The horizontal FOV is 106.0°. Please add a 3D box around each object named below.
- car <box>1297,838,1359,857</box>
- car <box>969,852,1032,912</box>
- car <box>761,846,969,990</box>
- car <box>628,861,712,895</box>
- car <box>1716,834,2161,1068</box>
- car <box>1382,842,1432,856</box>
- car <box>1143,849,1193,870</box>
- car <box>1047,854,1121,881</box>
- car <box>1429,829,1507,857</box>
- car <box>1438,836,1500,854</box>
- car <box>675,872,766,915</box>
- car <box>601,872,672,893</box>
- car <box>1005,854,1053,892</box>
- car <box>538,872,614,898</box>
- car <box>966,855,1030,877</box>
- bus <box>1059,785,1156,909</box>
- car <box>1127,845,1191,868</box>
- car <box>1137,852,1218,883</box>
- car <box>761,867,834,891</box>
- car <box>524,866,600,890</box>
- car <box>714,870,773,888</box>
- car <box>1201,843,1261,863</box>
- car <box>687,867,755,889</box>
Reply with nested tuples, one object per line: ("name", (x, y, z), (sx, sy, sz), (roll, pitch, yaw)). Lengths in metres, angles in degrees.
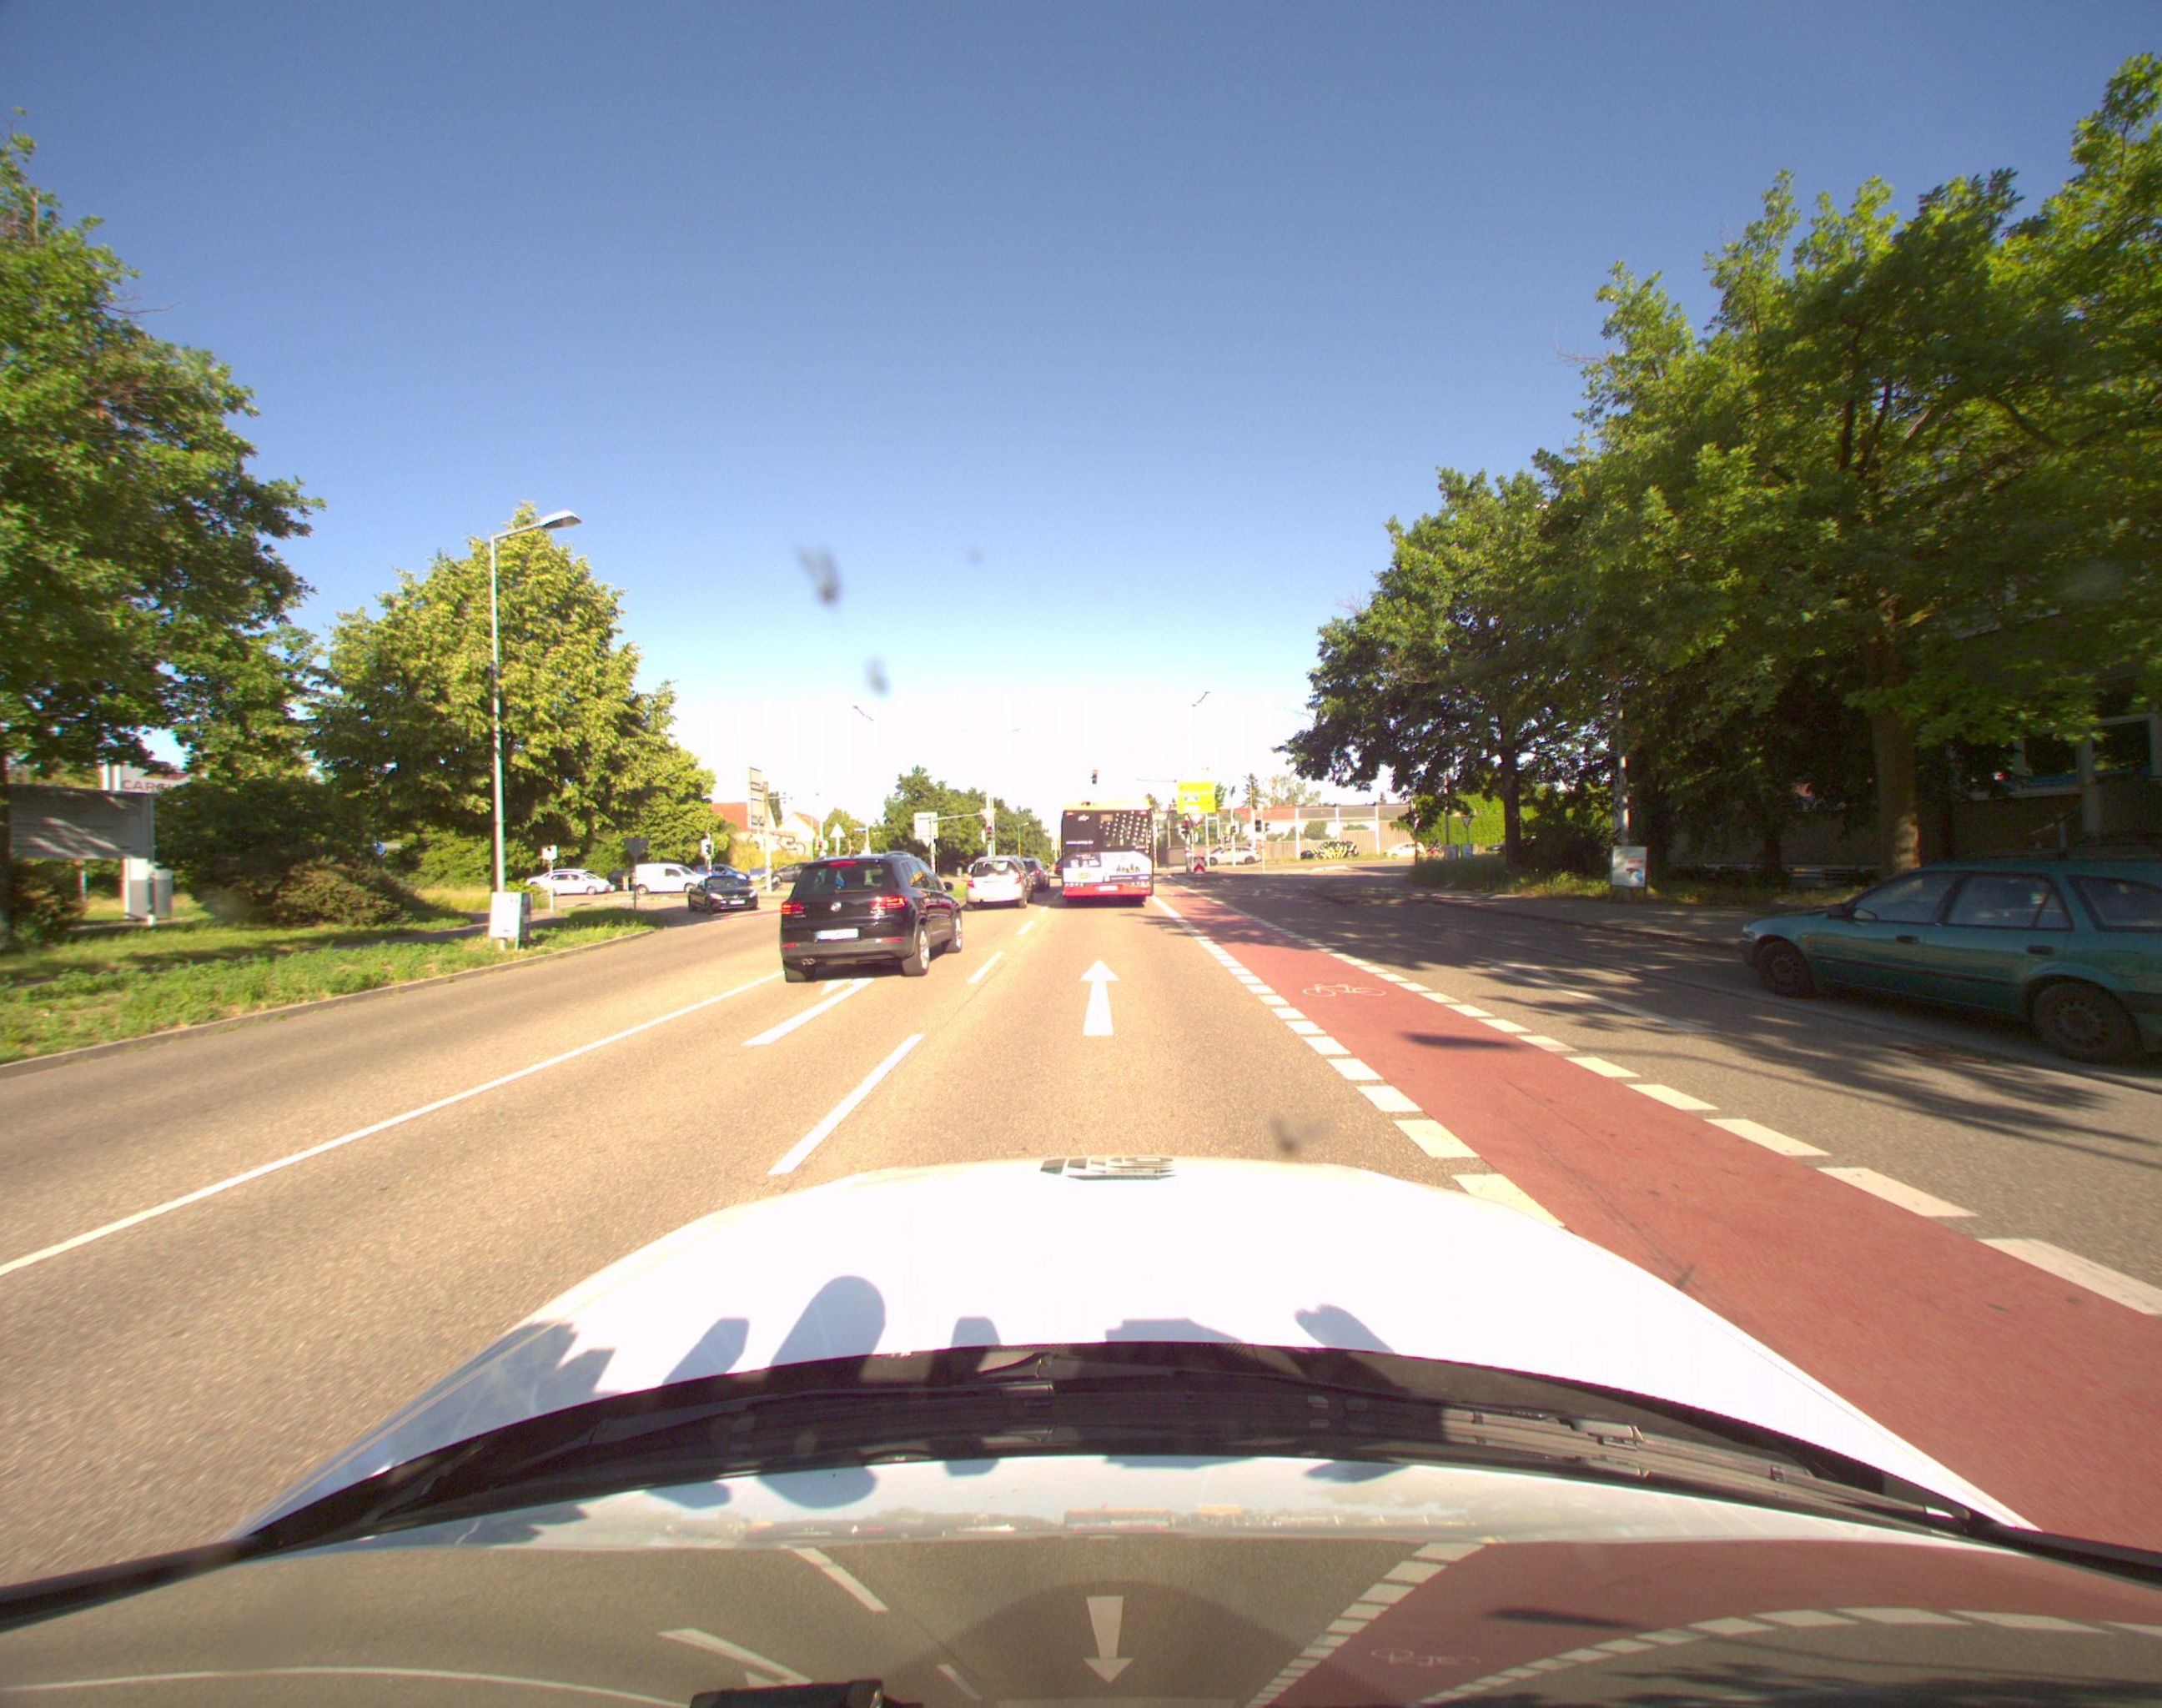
("car", (18.361, -0.474, 60.694), (4.148, 1.302, 1.574), (-1, -1, -2))
("car", (-2.446, 0.795, 25.456), (1.750, 1.620, 4.028), (-2, 1, -4))
("car", (-2.943, 0.822, 12.029), (1.814, 1.673, 4.004), (-3, -1, 1))
("car", (-24.174, 1.417, 47.965), (4.104, 1.801, 1.455), (-2, -1, -5))
("car", (7.683, 0.609, 6.779), (1.586, 1.428, 4.206), (-3, -1, 3))
("car", (28.733, -0.445, 71.766), (3.746, 1.136, 1.574), (-2, 0, -2))
("car", (7.422, 0.491, 69.804), (3.979, 1.612, 1.693), (-2, 0, -4))
("car", (0.150, 0.799, 50.165), (4.452, 1.441, 1.681), (-2, 0, -4))
("car", (18.333, -0.510, 38.608), (3.412, 1.296, 1.449), (0, -1, -24))
("car", (31.543, -0.721, 66.266), (4.277, 1.302, 1.574), (-2, 0, -2))
("car", (-14.114, 1.546, 31.751), (2.011, 1.403, 4.533), (-5, 0, -40))
("car", (-29.431, 1.860, 54.031), (3.842, 1.313, 1.504), (-1, -1, -7))
("car", (-2.144, 0.778, 34.220), (1.582, 1.485, 3.684), (-2, -1, 2))
("car", (-31.463, 1.910, 50.848), (3.664, 1.486, 1.591), (-2, -1, -5))
("car", (-6.339, 0.920, 62.355), (4.690, 1.540, 1.998), (-2, 0, -2))
("bus", (0.932, -0.201, 28.099), (2.586, 3.334, 11.988), (-1, 0, 2))
("car", (5.413, 0.176, 56.594), (4.211, 1.562, 1.761), (-1, -1, -3))
("car", (4.441, 0.621, 37.278), (3.500, 1.302, 1.579), (-1, 1, 10))
("car", (-21.152, 1.846, 60.905), (4.693, 1.540, 1.997), (-2, 0, -4))
("car", (-37.713, 1.740, 59.191), (4.371, 1.683, 1.711), (-1, -1, -2))
("car", (-26.307, 1.942, 63.550), (3.838, 1.340, 1.680), (-1, -1, -4))
("car", (11.698, -0.061, 63.709), (4.402, 1.459, 1.574), (-1, -1, -2))
("car", (-24.175, 1.583, 54.801), (3.842, 1.385, 1.678), (-1, -1, -7))
